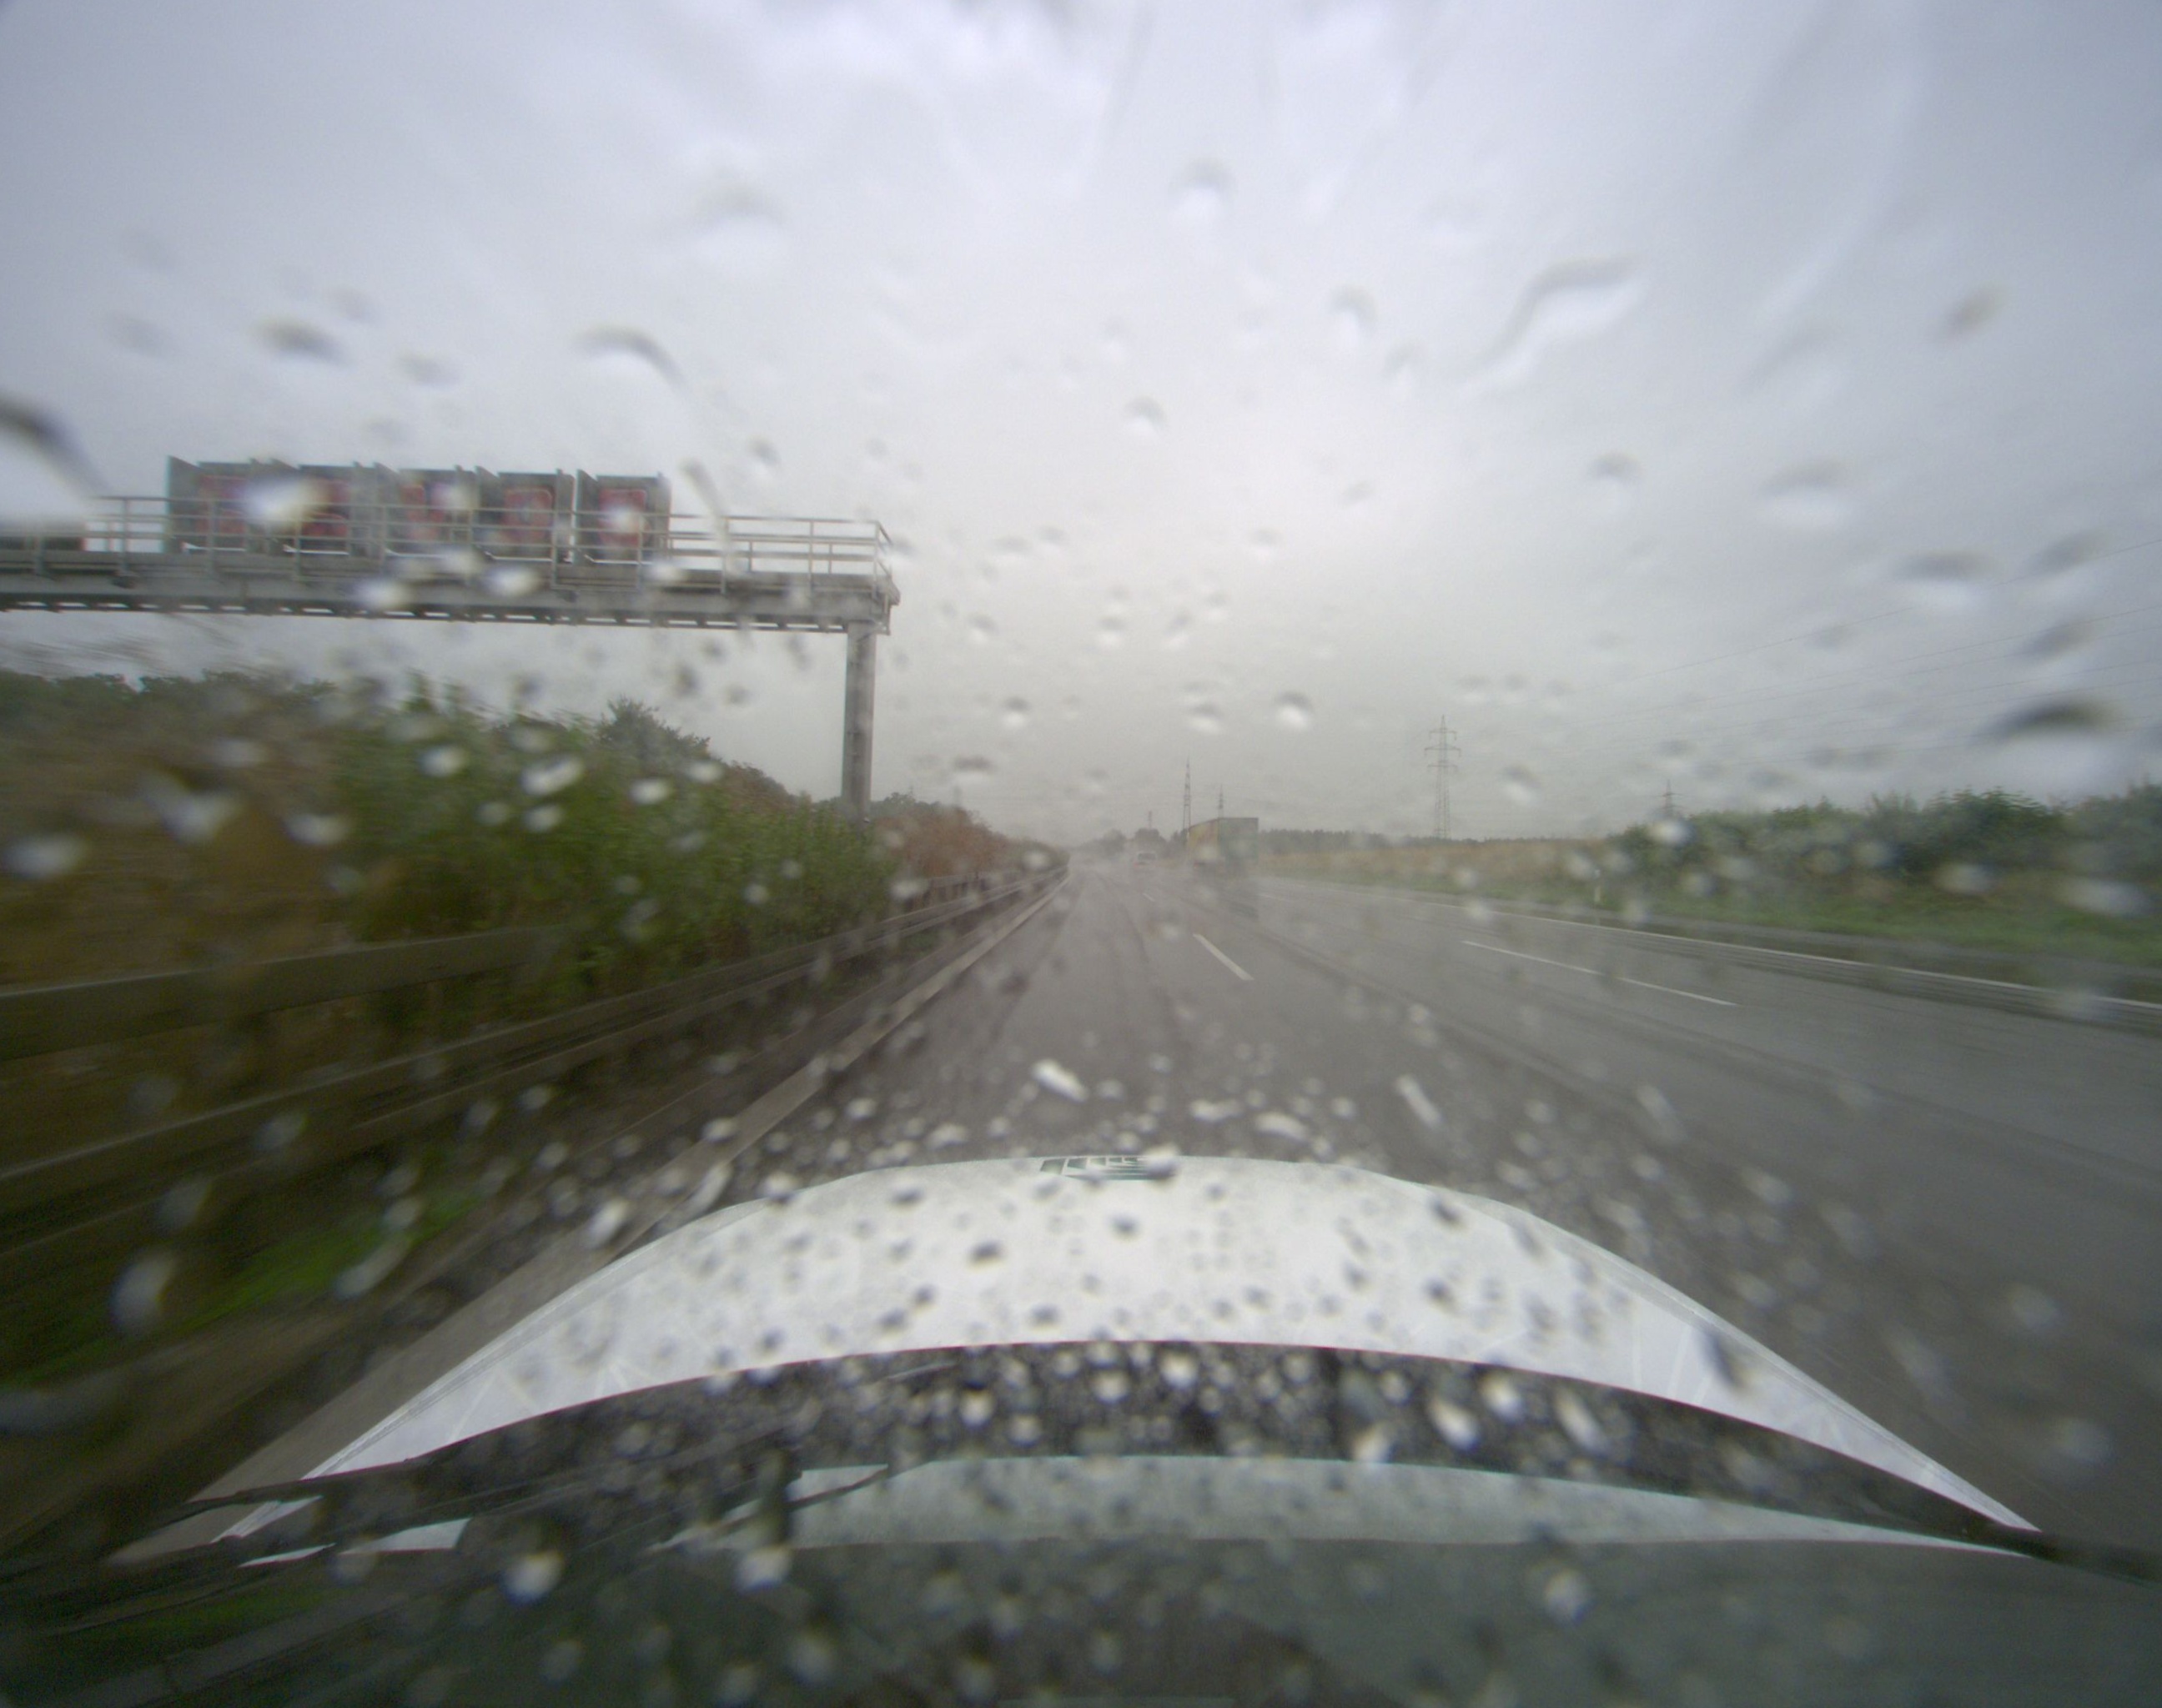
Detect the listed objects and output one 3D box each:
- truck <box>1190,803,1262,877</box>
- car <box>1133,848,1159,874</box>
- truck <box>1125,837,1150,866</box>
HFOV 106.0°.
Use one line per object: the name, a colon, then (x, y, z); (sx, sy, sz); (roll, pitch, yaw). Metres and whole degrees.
truck: (10.128, -0.843, 59.042); (4.167, 4.630, 16.134); (0, 0, 7)
car: (5.251, 0.510, 65.170); (1.984, 2.013, 4.006); (0, 0, 6)
truck: (8.804, -0.444, 127.269); (3.222, 4.311, 8.836); (0, 0, 0)
